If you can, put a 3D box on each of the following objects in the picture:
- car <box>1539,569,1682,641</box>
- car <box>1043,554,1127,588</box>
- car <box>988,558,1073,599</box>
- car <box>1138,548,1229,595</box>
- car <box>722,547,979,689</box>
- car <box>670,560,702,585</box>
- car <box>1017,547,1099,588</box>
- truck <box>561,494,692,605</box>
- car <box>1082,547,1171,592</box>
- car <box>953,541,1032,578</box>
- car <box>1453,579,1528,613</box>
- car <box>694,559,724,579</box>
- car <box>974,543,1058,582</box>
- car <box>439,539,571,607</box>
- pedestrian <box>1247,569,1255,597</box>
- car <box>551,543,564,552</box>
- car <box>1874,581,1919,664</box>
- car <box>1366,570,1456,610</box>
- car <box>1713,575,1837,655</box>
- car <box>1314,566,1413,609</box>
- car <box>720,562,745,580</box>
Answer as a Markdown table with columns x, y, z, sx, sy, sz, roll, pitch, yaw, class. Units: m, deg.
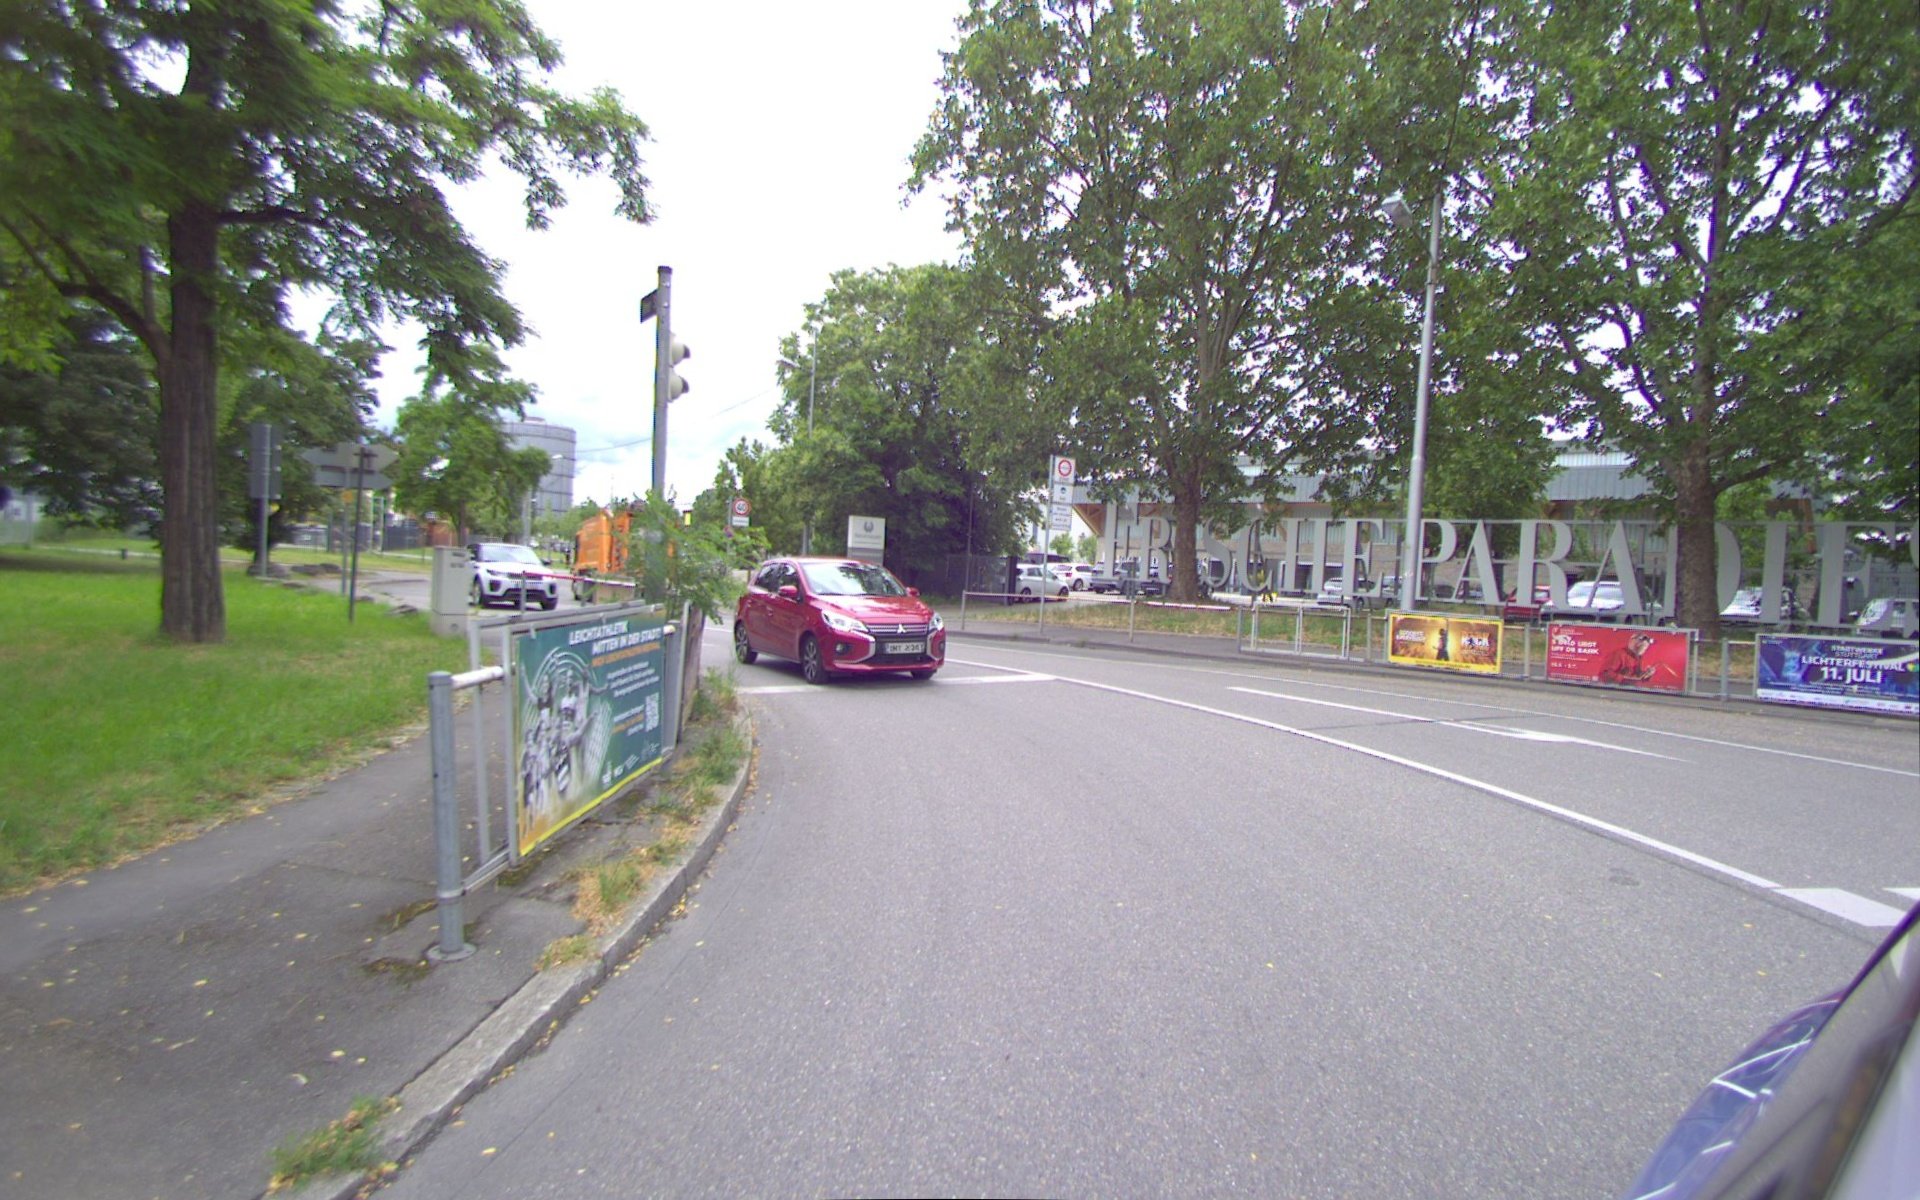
| x | y | z | sx | sy | sz | roll | pitch | yaw | class |
| --- | --- | --- | --- | --- | --- | --- | --- | --- | --- |
| 17.042 | 0.151 | 26.423 | 4.445 | 1.633 | 1.882 | 3 | 2 | -41 | car |
| 6.785 | -1.565 | 54.654 | 4.560 | 1.577 | 1.997 | 2 | 2 | -42 | car |
| 3.015 | -0.900 | 42.790 | 1.477 | 1.523 | 3.670 | 5 | 2 | 44 | car |
| 10.937 | -1.383 | 49.451 | 4.560 | 2.038 | 1.997 | 2 | 2 | -42 | car |
| -1.538 | 0.113 | 12.890 | 1.699 | 1.483 | 3.838 | 0 | 3 | -33 | car |
| -18.260 | -1.852 | 67.471 | 1.681 | 1.508 | 3.378 | 3 | 1 | -10 | car |
| 5.588 | -1.826 | 57.293 | 4.560 | 2.038 | 1.997 | 2 | 2 | -42 | car |
| -12.937 | -1.822 | 38.493 | 2.741 | 3.570 | 10.437 | 2 | 1 | -29 | truck |
| 8.549 | -1.542 | 51.834 | 4.560 | 2.038 | 1.997 | 2 | 2 | -42 | car |
| 2.044 | -2.478 | 62.517 | 4.740 | 2.038 | 1.997 | 2 | 2 | -42 | car |
| 28.093 | -0.178 | 53.569 | 4.560 | 1.580 | 1.997 | 2 | 2 | -42 | car |
| -19.077 | -2.349 | 77.006 | 1.682 | 1.424 | 3.376 | 3 | 1 | -6 | car |
| 3.361 | -2.225 | 60.386 | 5.014 | 2.023 | 1.997 | 2 | 2 | -42 | car |
| -11.665 | -0.758 | 25.835 | 2.013 | 1.554 | 3.936 | -3 | 4 | -41 | car |
| 19.335 | -1.123 | 67.139 | 0.338 | 1.787 | 0.434 | 4 | 0 | 25 | pedestrian |
| -76.136 | -9.857 | 191.405 | 2.005 | 1.555 | 3.950 | 4 | 1 | -26 | car |
| 20.890 | 0.538 | 21.636 | 3.932 | 1.633 | 1.589 | 2 | 2 | -43 | car |
| 20.504 | -0.454 | 45.939 | 4.560 | 1.580 | 1.997 | 2 | 2 | -42 | car |
| 19.097 | 0.368 | 23.653 | 4.244 | 1.633 | 1.589 | 2 | 2 | -43 | car |
| 17.068 | -0.507 | 42.700 | 4.560 | 1.580 | 1.997 | 2 | 2 | -42 | car |
| -19.810 | -2.496 | 88.090 | 1.682 | 1.424 | 3.376 | 3 | 1 | -6 | car |
